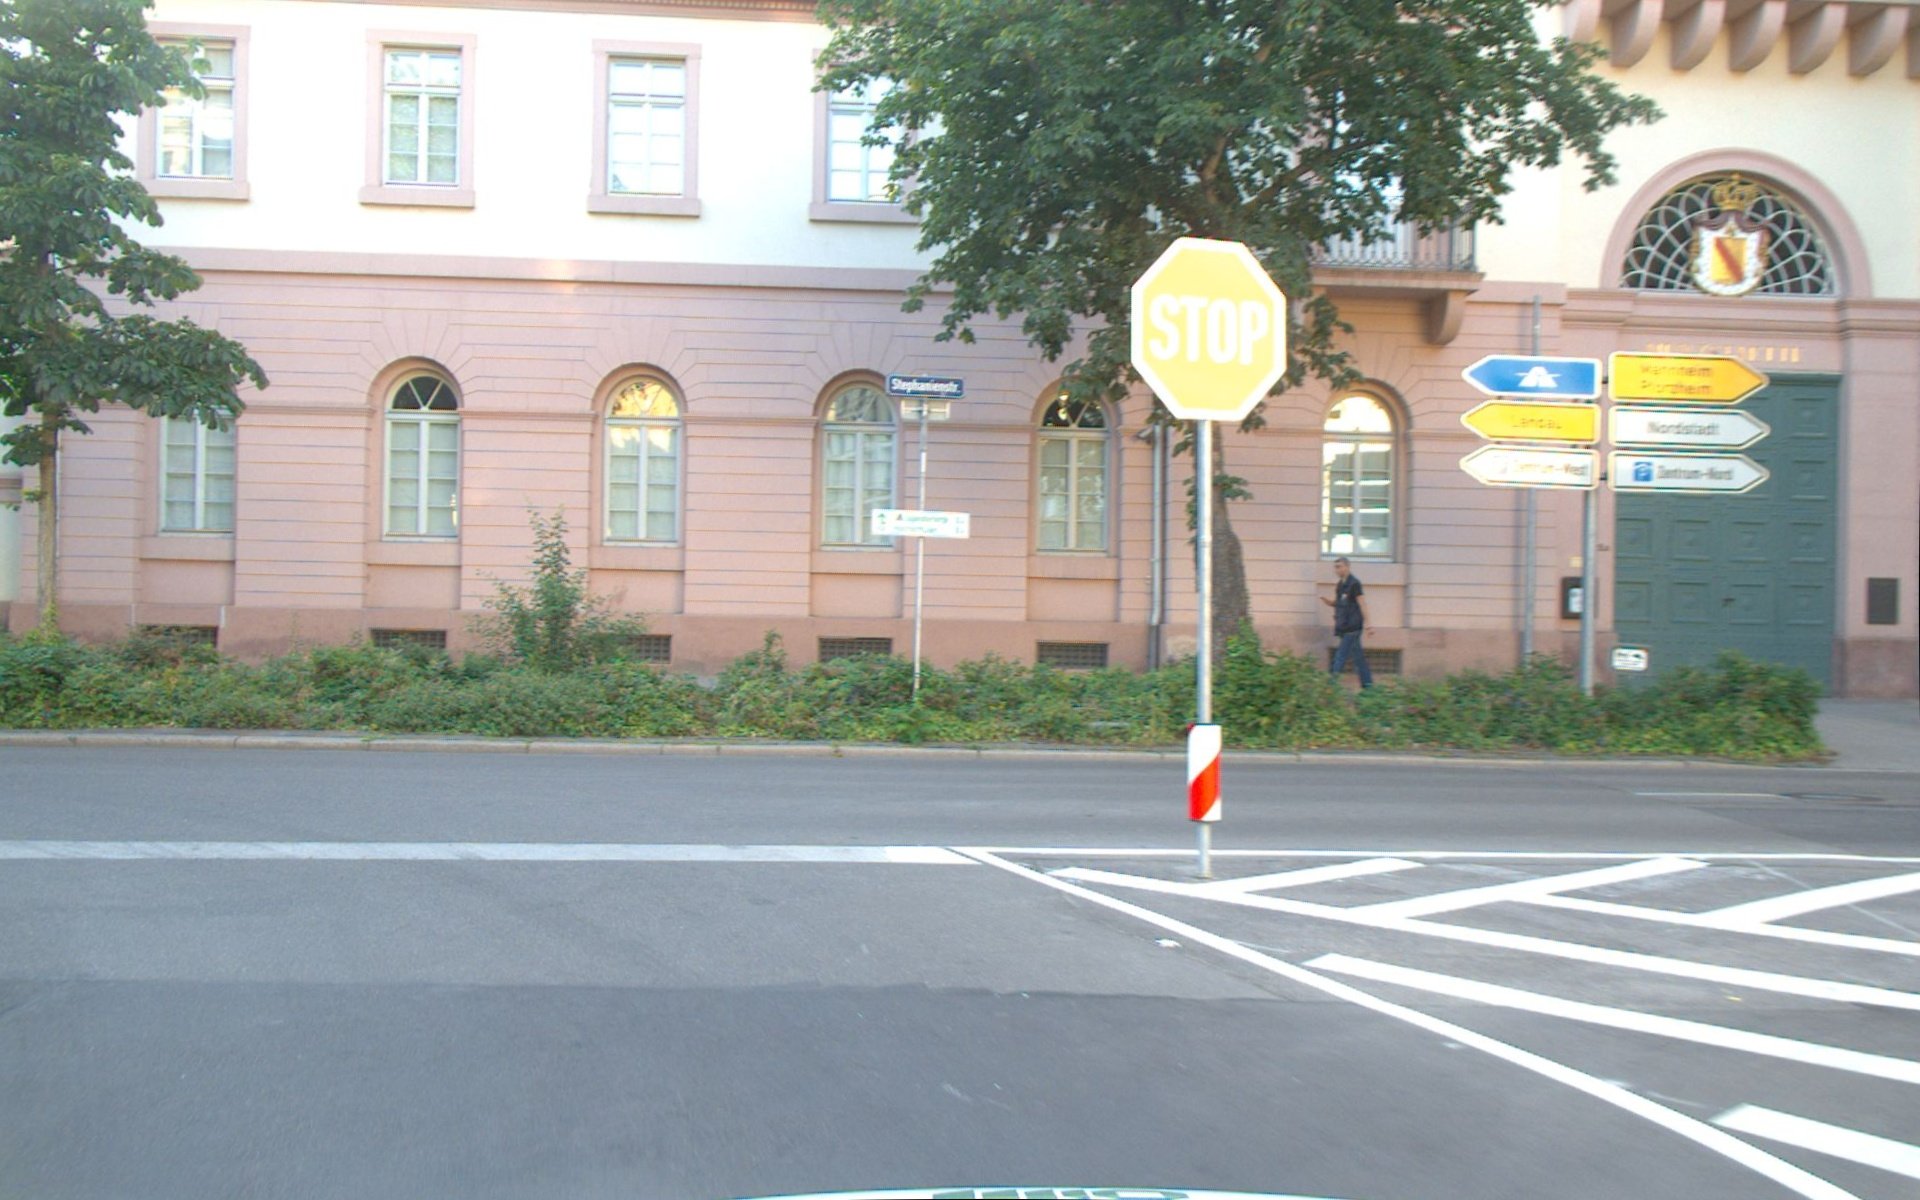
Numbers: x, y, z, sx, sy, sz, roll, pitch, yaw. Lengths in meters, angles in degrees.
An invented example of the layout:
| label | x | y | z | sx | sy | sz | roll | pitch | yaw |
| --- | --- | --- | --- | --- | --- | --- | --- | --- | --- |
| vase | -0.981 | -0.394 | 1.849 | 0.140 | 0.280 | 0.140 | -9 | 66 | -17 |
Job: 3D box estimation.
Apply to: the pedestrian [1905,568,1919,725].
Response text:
| label | x | y | z | sx | sy | sz | roll | pitch | yaw |
| --- | --- | --- | --- | --- | --- | --- | --- | --- | --- |
| pedestrian | 11.812 | 0.560 | 19.621 | 0.781 | 1.864 | 0.930 | 1 | 0 | 13 |

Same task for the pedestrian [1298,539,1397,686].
| label | x | y | z | sx | sy | sz | roll | pitch | yaw |
| --- | --- | --- | --- | --- | --- | --- | --- | --- | --- |
| pedestrian | 5.060 | 0.166 | 21.626 | 1.057 | 1.871 | 0.800 | 1 | 0 | -3 |
